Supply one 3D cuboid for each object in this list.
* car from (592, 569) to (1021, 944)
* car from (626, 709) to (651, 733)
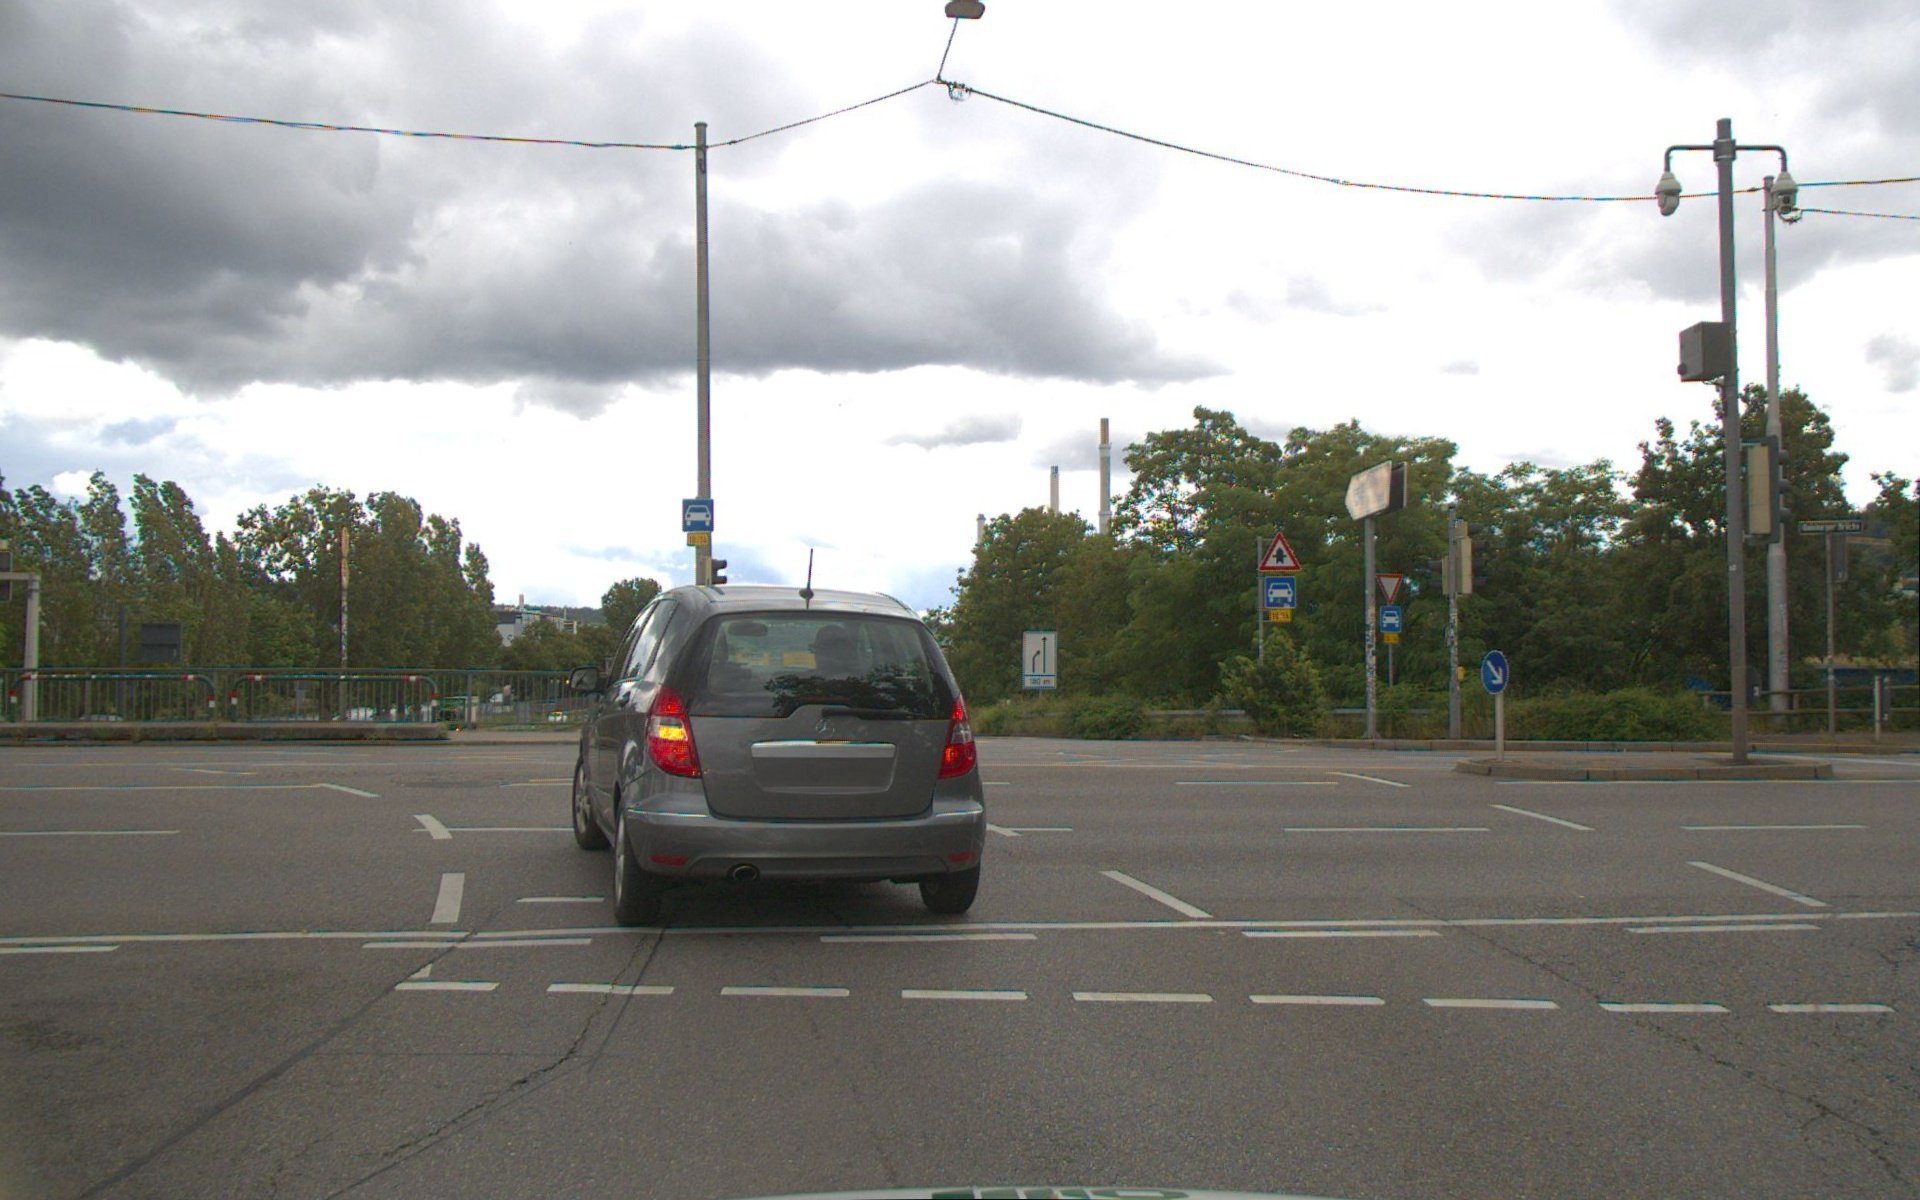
[{"bbox_3d":[-1.050,0.689,9.062,1.716,1.578,3.855,1,-1,-15],"label":"car"},{"bbox_3d":[-33.335,12.525,171.382,1.954,2.412,4.584,-1,-4,-4],"label":"car"}]
